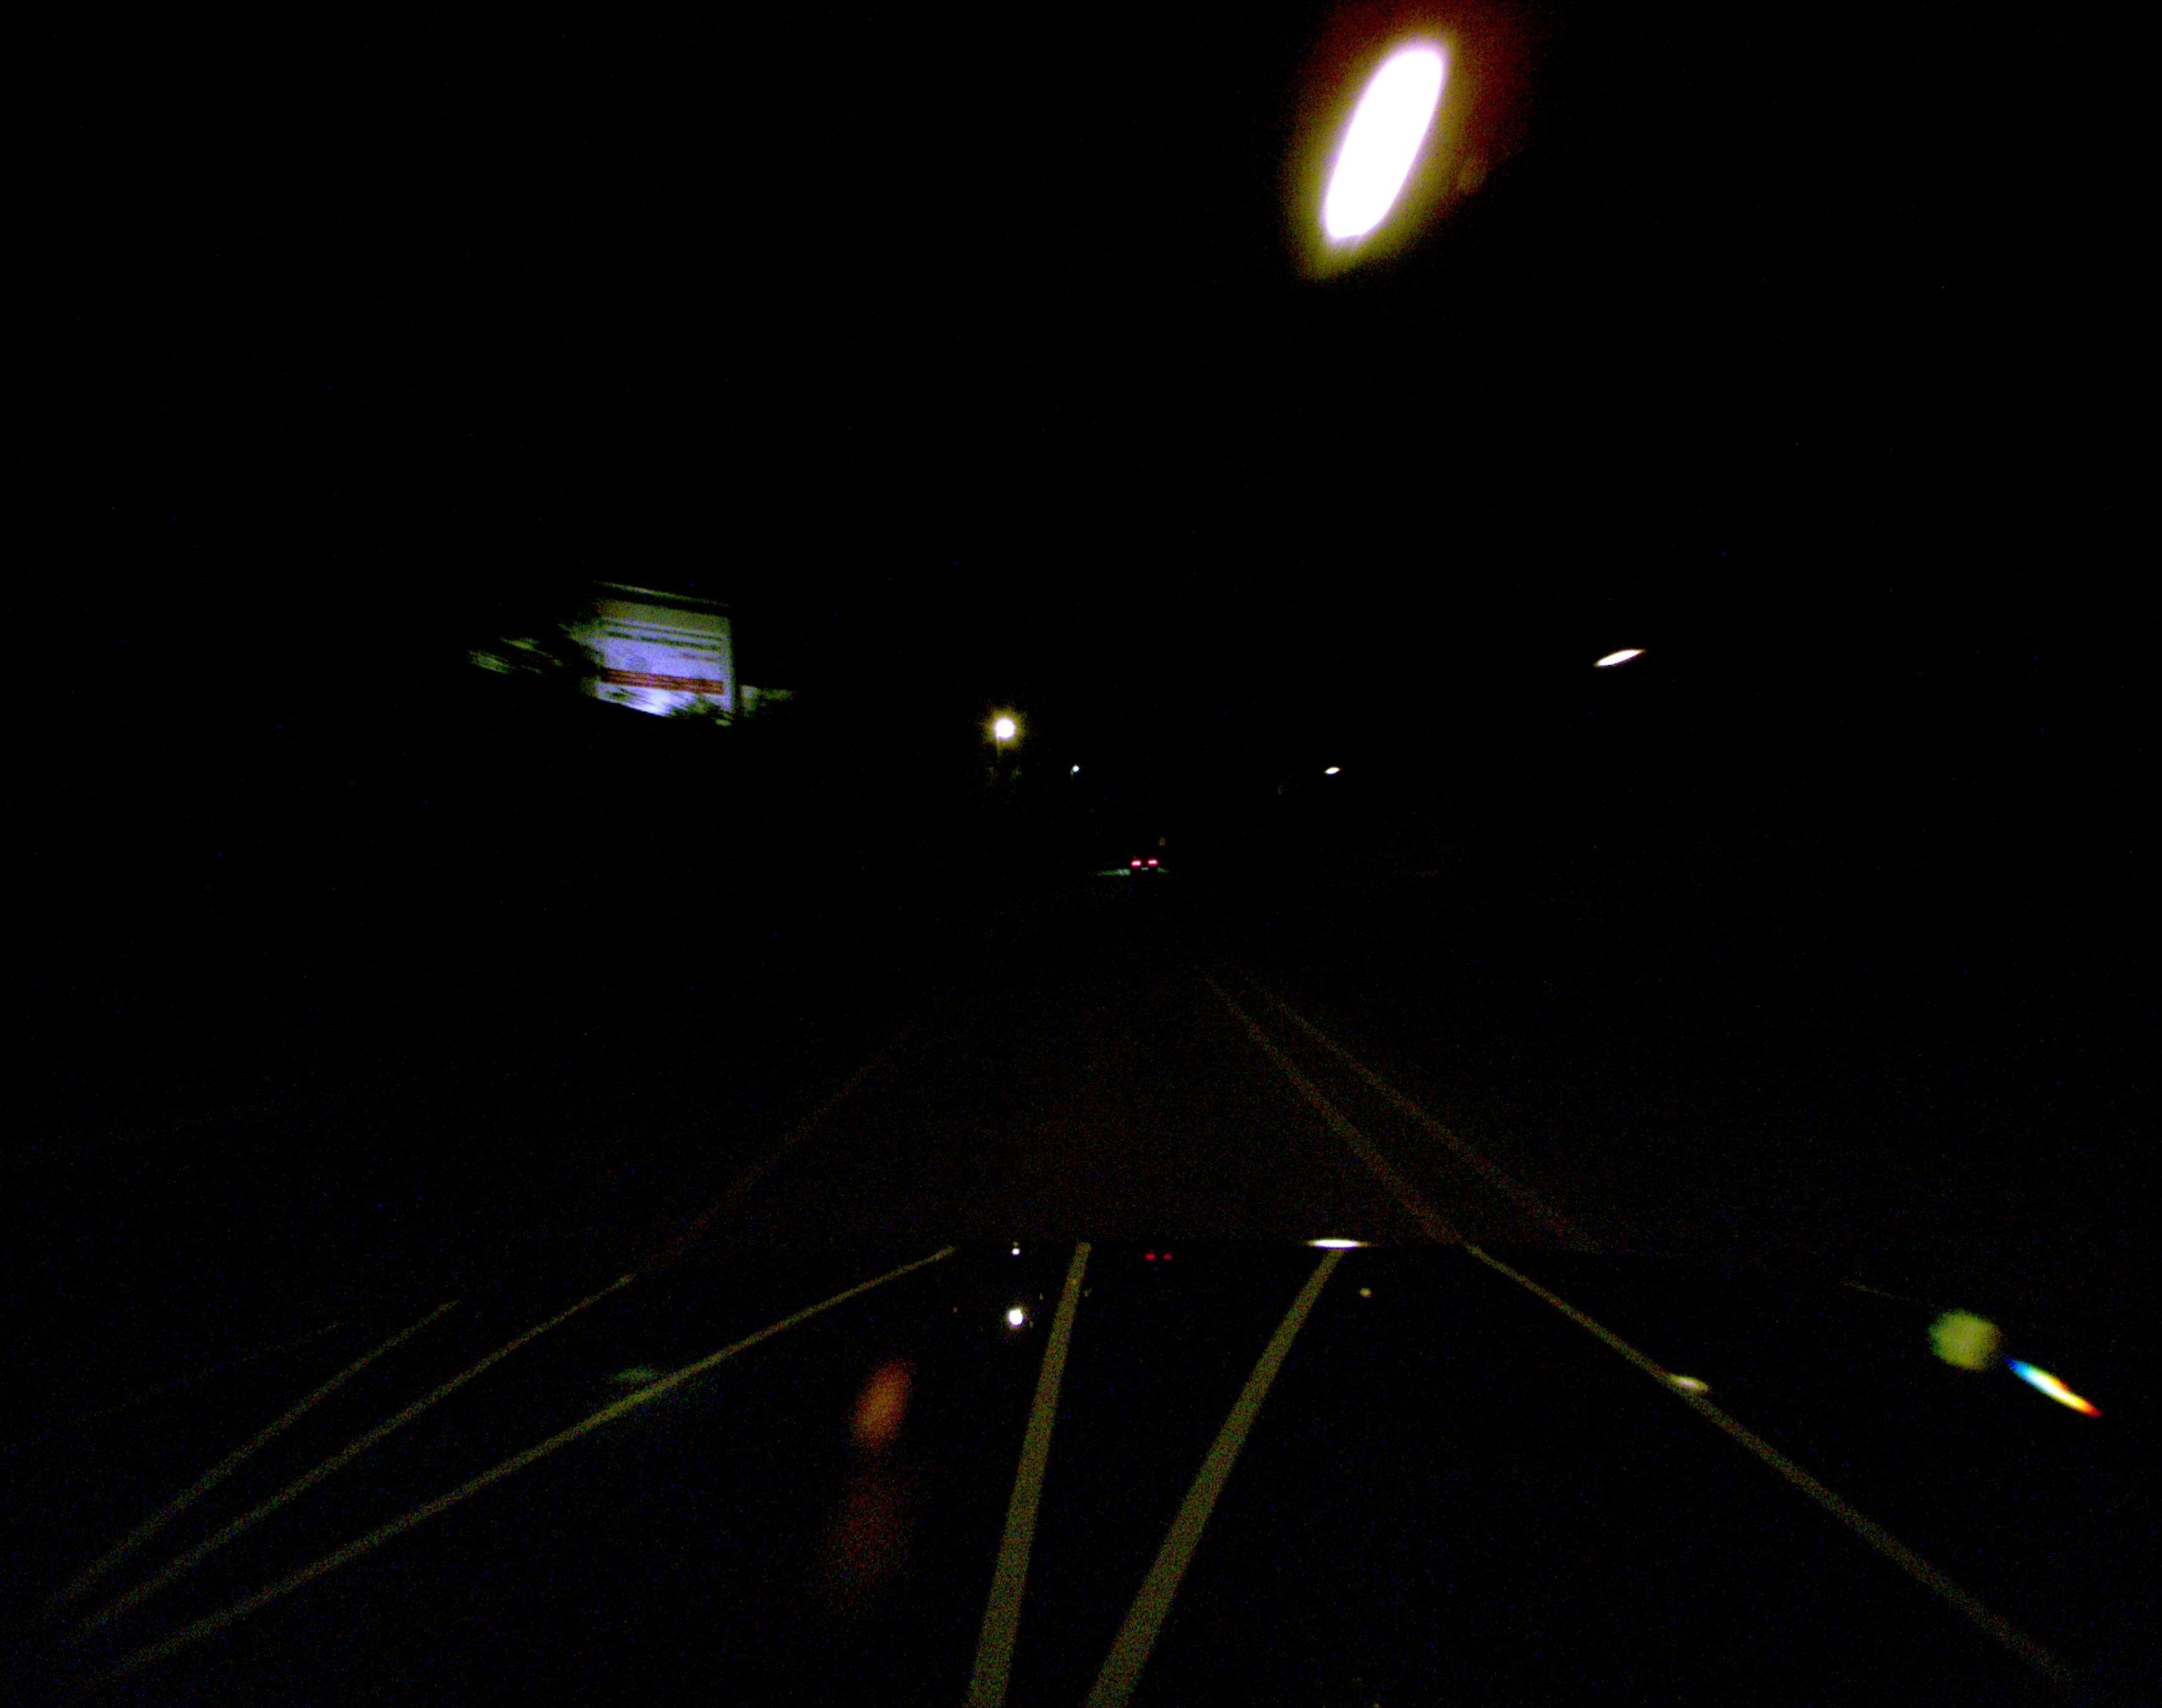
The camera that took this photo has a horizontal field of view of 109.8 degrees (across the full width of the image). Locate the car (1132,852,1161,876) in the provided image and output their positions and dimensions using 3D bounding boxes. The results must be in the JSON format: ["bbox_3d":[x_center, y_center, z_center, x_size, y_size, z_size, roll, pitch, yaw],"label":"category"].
[{"bbox_3d":[4.934,0.720,56.758,1.885,1.545,4.219,-2,1,7],"label":"car"}]
